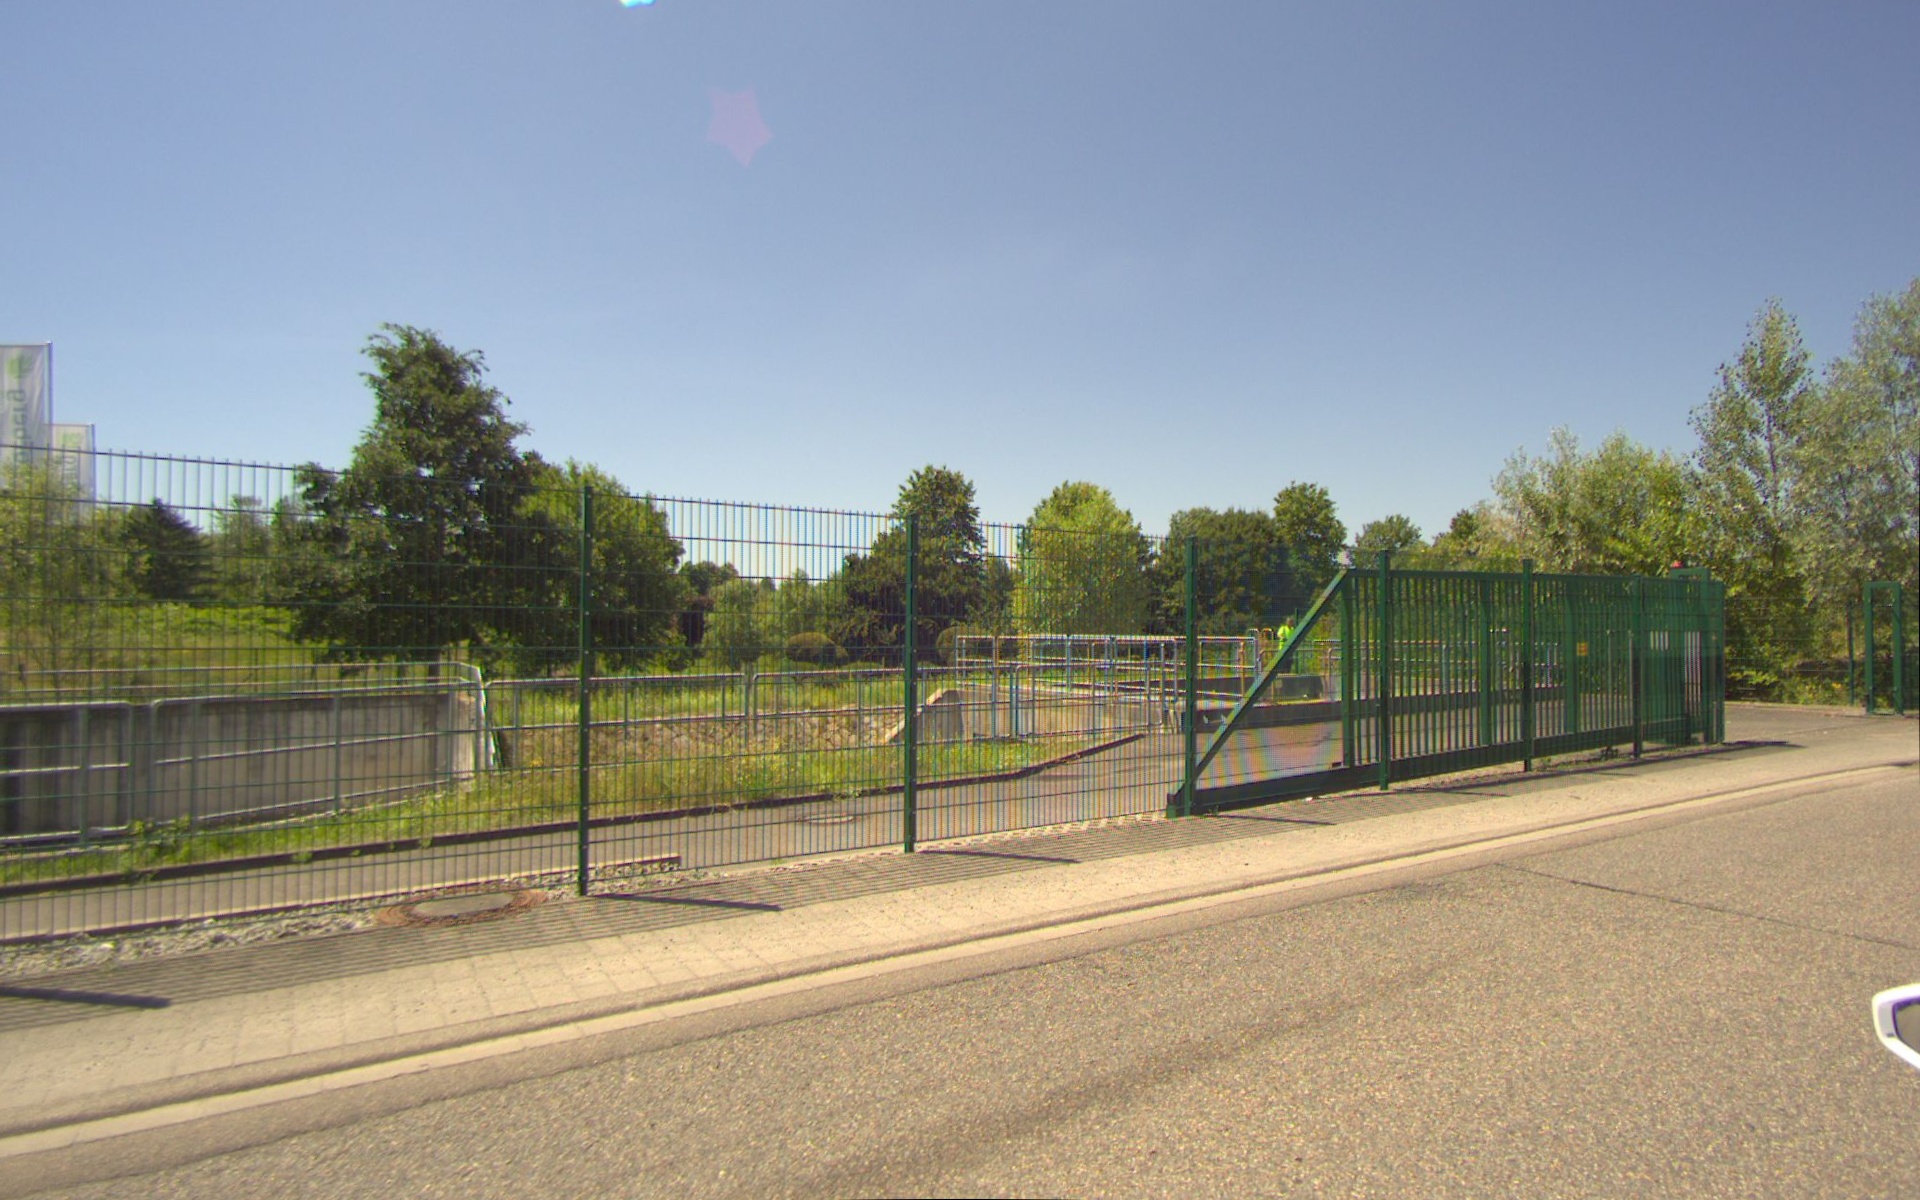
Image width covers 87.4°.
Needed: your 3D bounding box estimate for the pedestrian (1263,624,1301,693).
[{"bbox_3d":[8.795,1.593,27.443,0.796,1.863,0.602,1,-2,-34],"label":"pedestrian"}]
